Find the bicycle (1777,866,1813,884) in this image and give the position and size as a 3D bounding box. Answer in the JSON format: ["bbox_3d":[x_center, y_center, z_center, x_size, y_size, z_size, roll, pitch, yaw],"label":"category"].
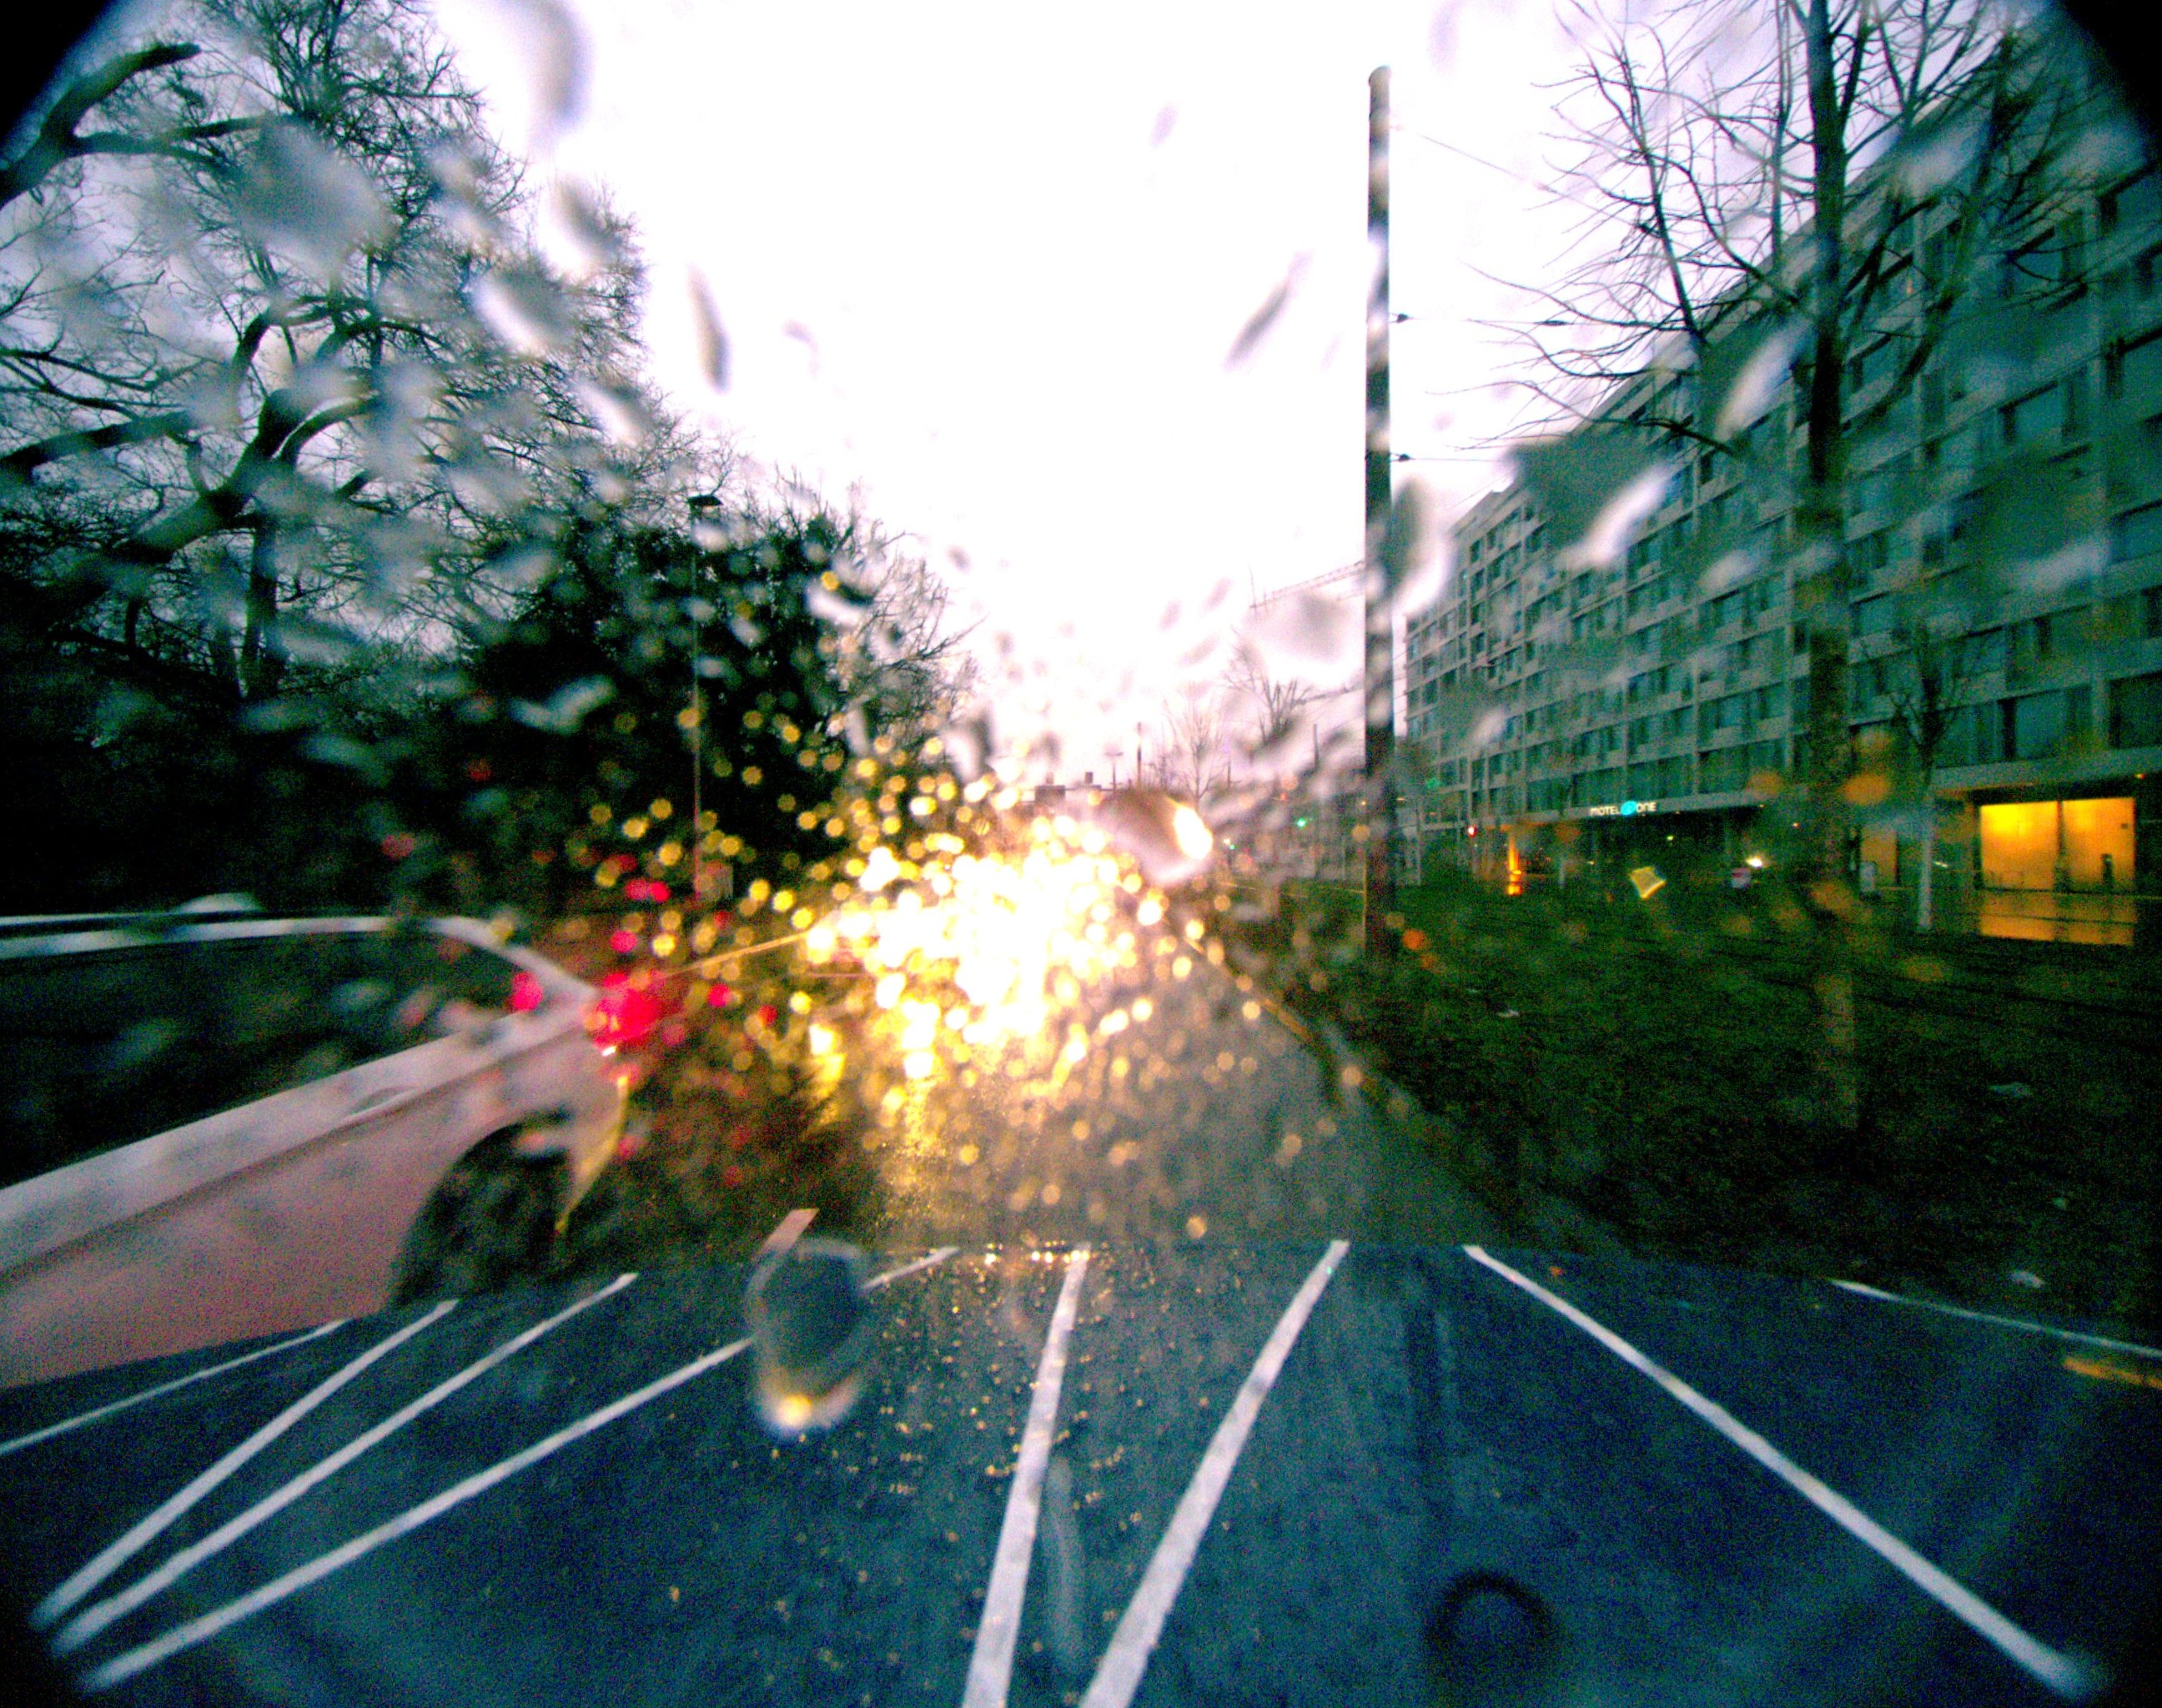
[{"bbox_3d":[36.320,1.080,38.652,1.349,0.849,0.465,-2,1,-1],"label":"bicycle"}]

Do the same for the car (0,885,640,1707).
[{"bbox_3d":[-2.873,0.914,0.961,1.867,1.547,4.937,0,0,-2],"label":"car"}]

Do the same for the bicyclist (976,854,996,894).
[{"bbox_3d":[-5.412,1.128,43.326,0.968,2.210,0.935,-2,1,-1],"label":"bicyclist"}]

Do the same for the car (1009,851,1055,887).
[{"bbox_3d":[-2.493,0.721,38.192,2.074,1.618,4.266,-2,0,-5],"label":"car"}]

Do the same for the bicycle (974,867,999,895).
[{"bbox_3d":[-5.372,1.512,43.205,0.968,1.442,3.389,-2,1,-1],"label":"bicycle"}]

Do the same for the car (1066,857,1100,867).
[{"bbox_3d":[0.267,1.042,96.693,3.989,1.300,1.821,0,0,29],"label":"car"}]

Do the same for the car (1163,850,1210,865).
[{"bbox_3d":[12.387,0.427,89.357,5.029,1.659,2.092,0,0,32],"label":"car"}]

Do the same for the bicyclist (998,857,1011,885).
[{"bbox_3d":[-4.645,1.035,46.200,0.691,1.675,0.593,-2,1,1],"label":"bicyclist"}]

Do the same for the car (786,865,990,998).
[{"bbox_3d":[-2.589,0.966,11.296,1.886,1.552,4.171,0,0,1],"label":"car"}]

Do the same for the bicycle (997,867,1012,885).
[{"bbox_3d":[-4.637,1.343,46.287,0.691,1.036,1.721,-2,1,1],"label":"bicycle"}]

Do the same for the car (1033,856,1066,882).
[{"bbox_3d":[-2.117,0.978,52.228,1.998,1.618,4.268,-2,0,1],"label":"car"}]

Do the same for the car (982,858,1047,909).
[{"bbox_3d":[-2.384,1.030,28.409,2.073,1.618,4.267,-2,0,-1],"label":"car"}]
